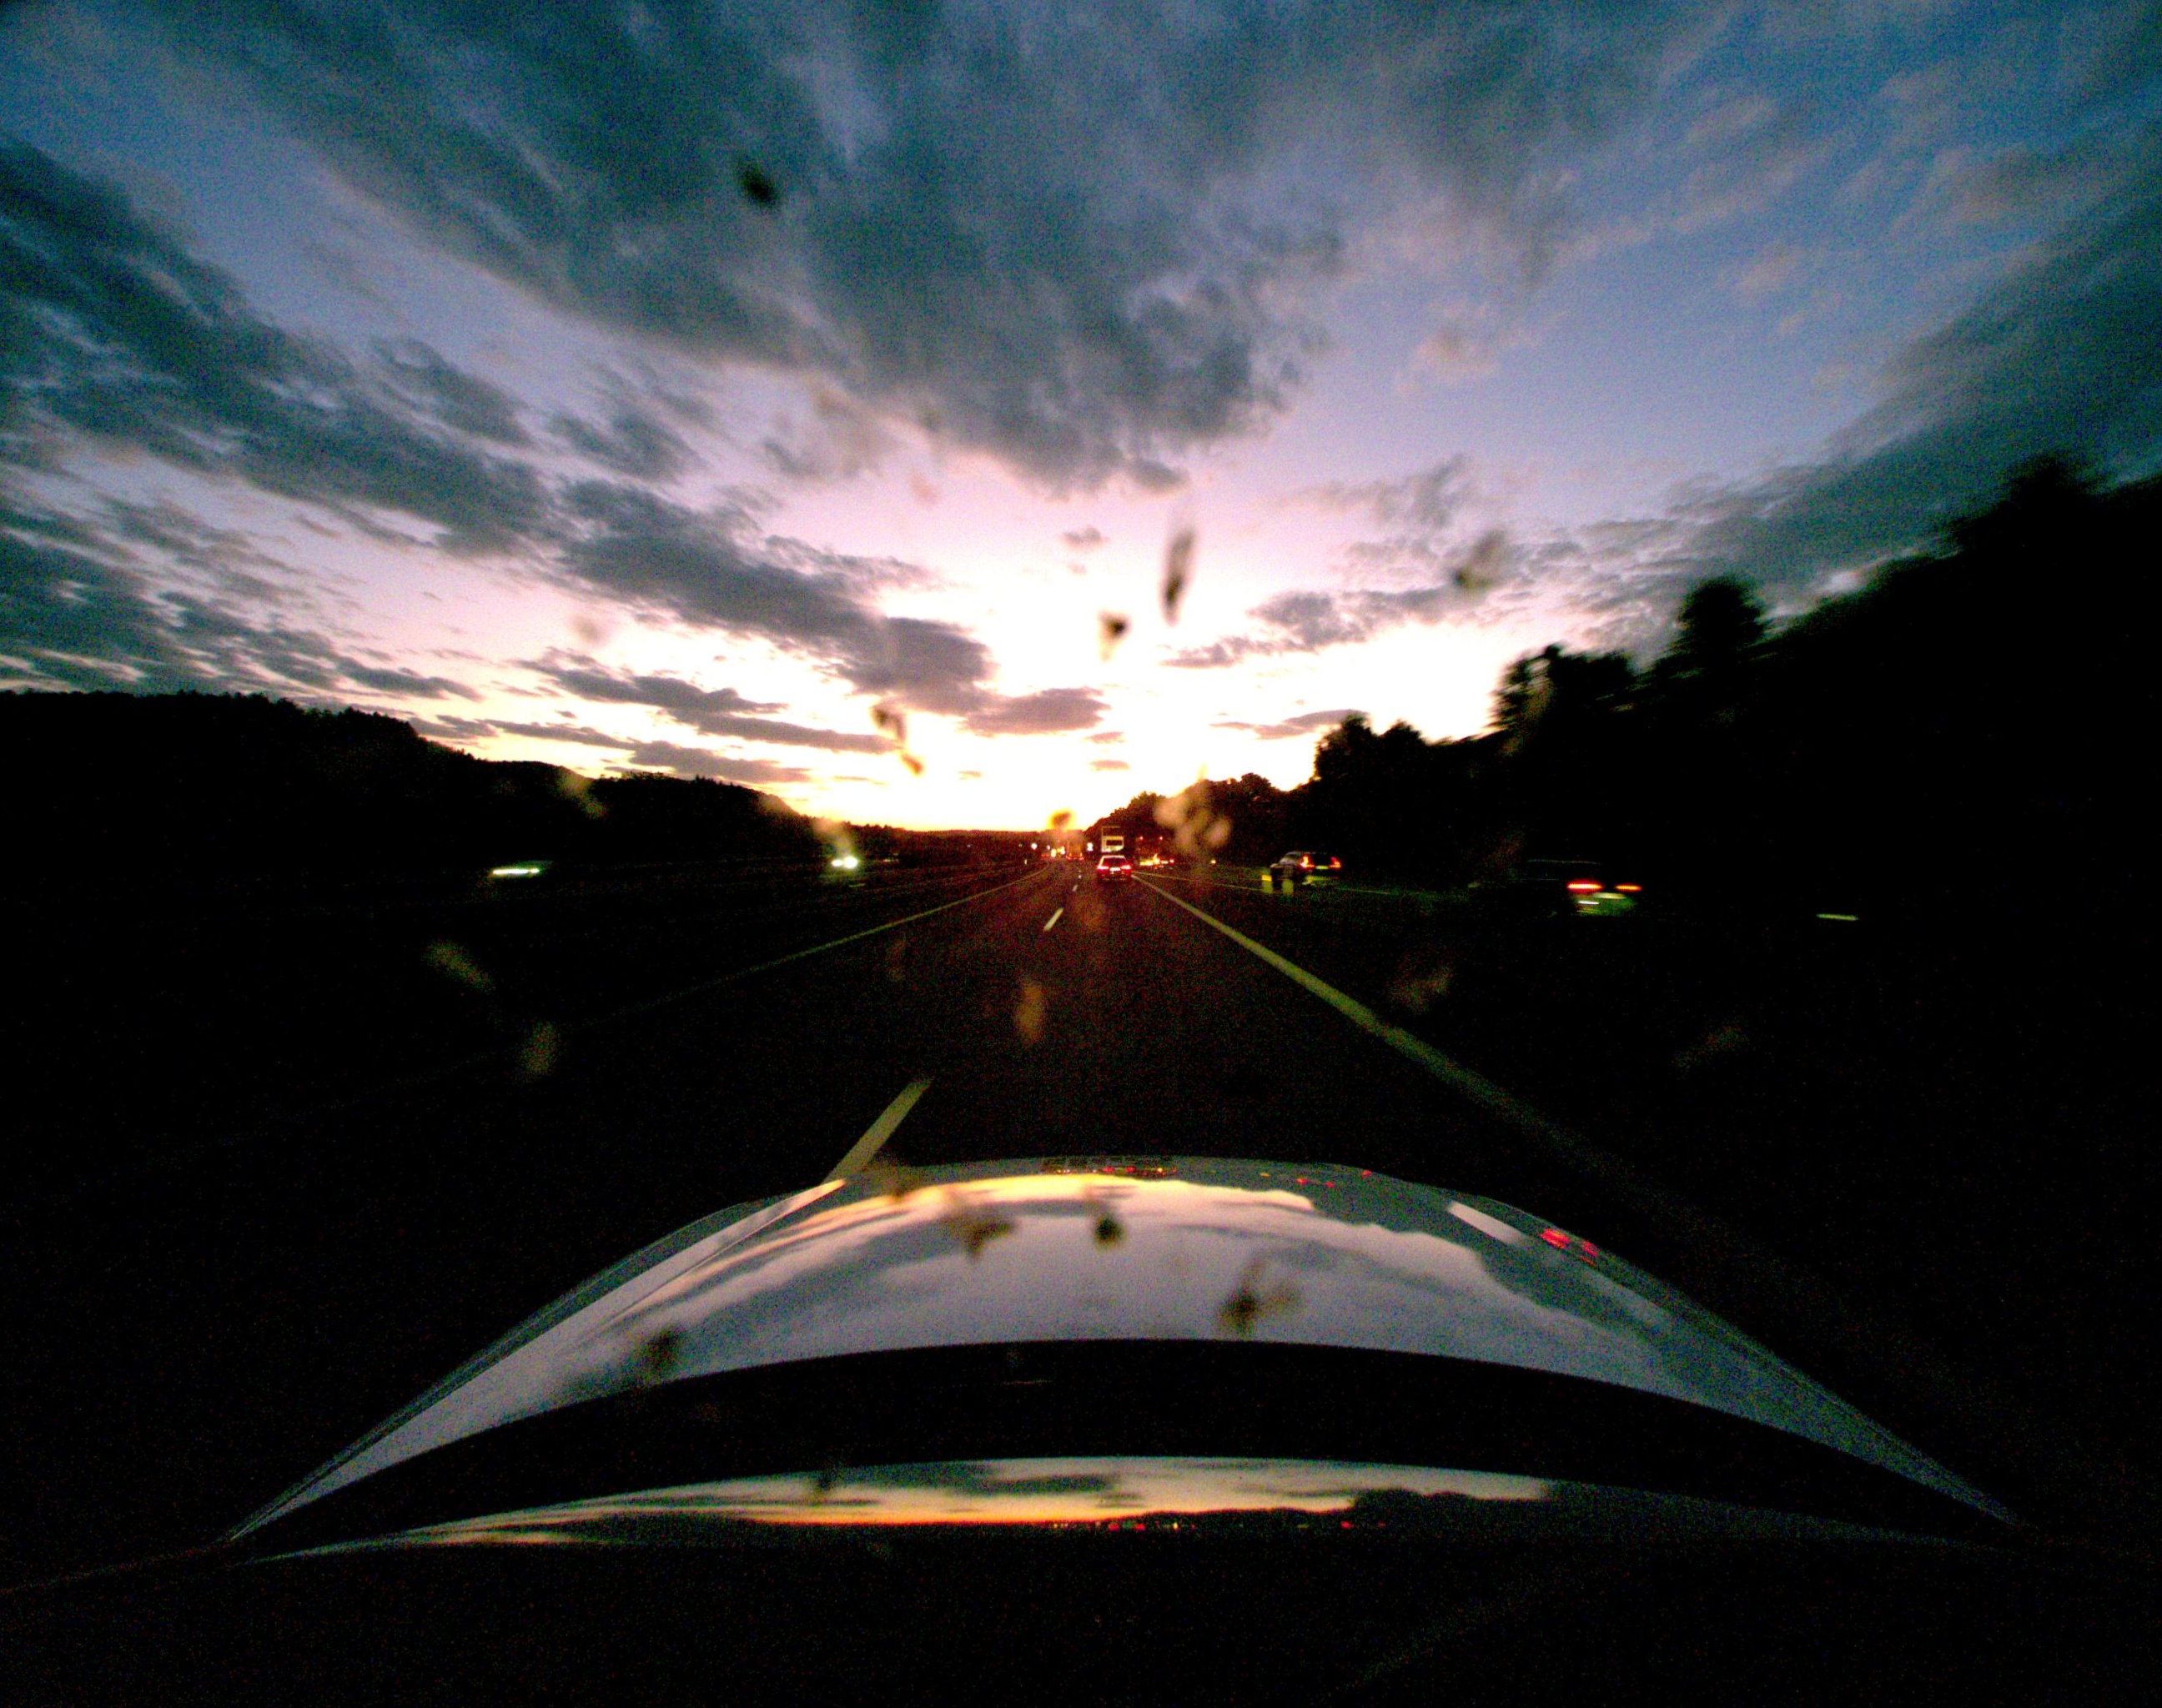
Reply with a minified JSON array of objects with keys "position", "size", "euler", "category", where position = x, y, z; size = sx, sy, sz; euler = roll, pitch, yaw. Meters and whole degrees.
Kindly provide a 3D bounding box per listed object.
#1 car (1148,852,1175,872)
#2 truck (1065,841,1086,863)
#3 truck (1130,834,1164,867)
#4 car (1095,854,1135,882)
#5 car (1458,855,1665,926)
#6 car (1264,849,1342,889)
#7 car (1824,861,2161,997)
[{"position":[6.408,0.642,64.876],"size":[1.608,1.556,3.313],"euler":[0,-1,-5],"category":"car"},{"position":[-1.197,-0.377,161.359],"size":[3.503,4.301,9.877],"euler":[0,-1,-4],"category":"truck"},{"position":[6.404,-0.339,80.073],"size":[2.264,2.972,6.622],"euler":[2,0,-4],"category":"truck"},{"position":[1.799,0.751,44.029],"size":[1.909,1.442,3.998],"euler":[0,-1,-1],"category":"car"},{"position":[11.808,0.818,20.536],"size":[1.795,1.492,5.106],"euler":[2,0,-6],"category":"car"},{"position":[9.953,0.637,37.011],"size":[1.794,1.645,5.152],"euler":[-1,0,-4],"category":"car"},{"position":[12.739,0.878,10.626],"size":[1.796,1.492,4.426],"euler":[2,0,-6],"category":"car"}]
